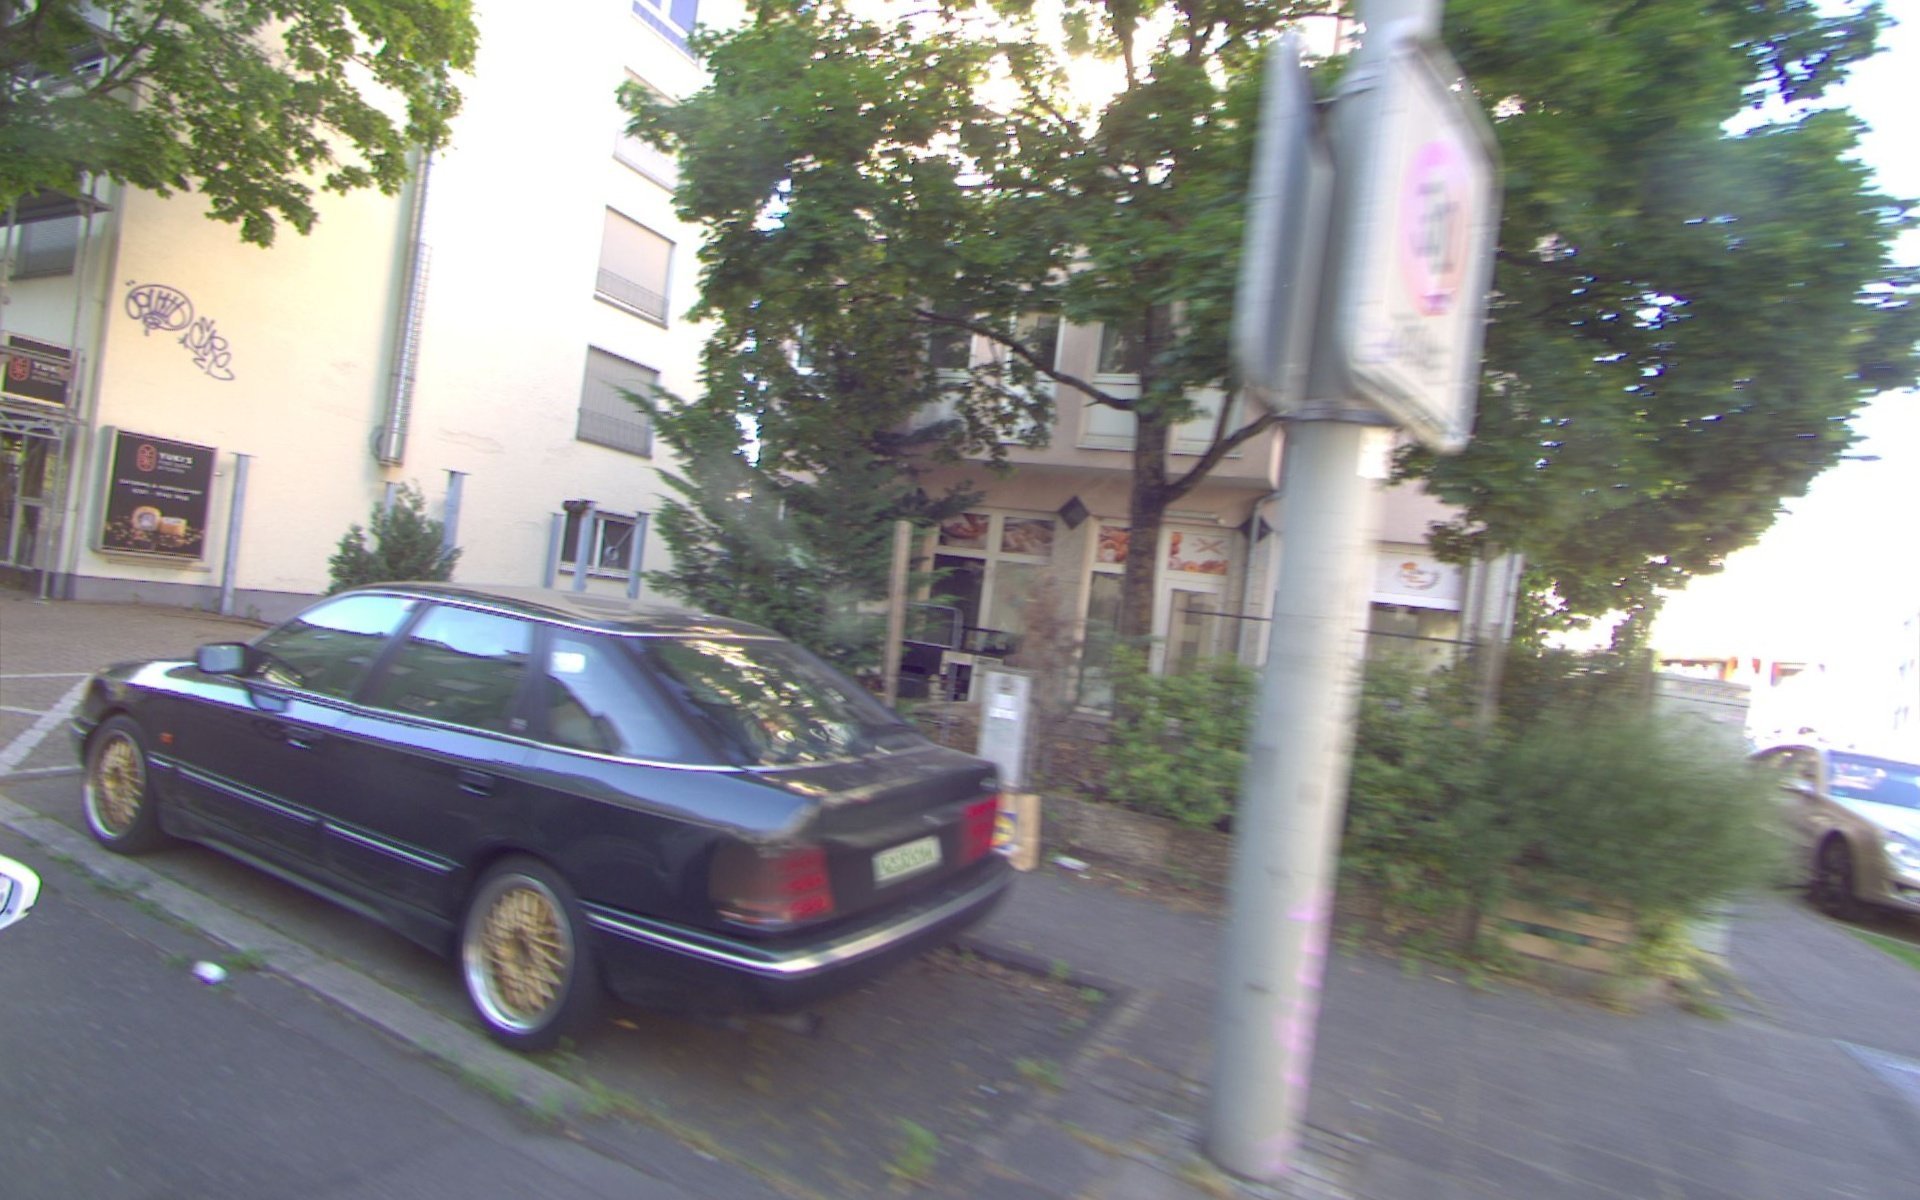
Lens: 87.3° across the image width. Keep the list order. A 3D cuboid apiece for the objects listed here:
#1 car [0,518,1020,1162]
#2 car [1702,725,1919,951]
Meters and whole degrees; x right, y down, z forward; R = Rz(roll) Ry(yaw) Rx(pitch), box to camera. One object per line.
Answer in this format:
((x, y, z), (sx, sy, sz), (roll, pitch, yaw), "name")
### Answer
((-2.191, 0.614, 4.472), (4.491, 1.404, 1.712), (7, -1, 29), "car")
((8.588, 2.141, 9.179), (1.718, 1.460, 4.000), (10, 0, 21), "car")
